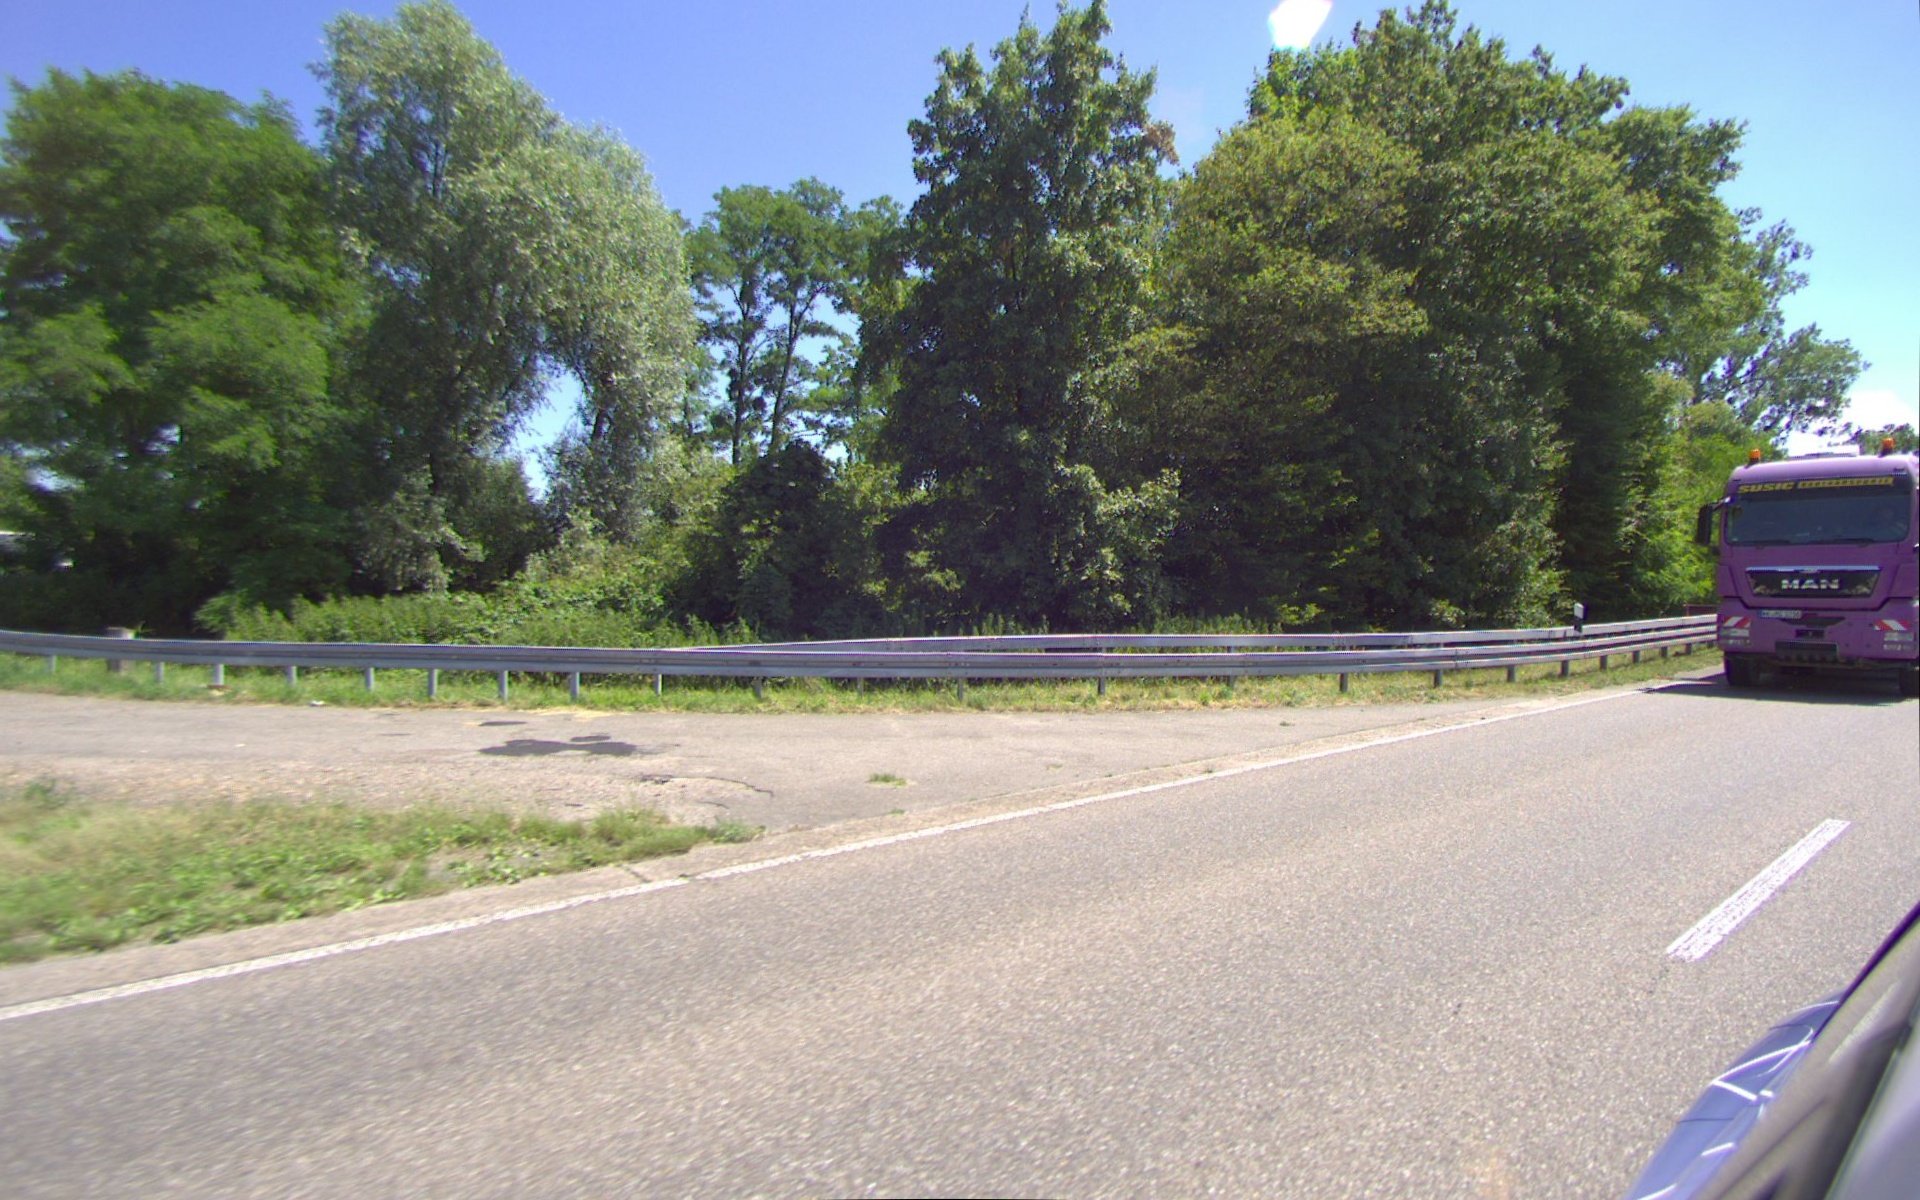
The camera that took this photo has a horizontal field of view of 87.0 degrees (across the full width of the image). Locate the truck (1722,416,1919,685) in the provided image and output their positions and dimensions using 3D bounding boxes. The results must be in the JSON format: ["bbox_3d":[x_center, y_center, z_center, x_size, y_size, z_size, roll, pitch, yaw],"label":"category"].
[{"bbox_3d":[14.926,-0.682,16.746,5.836,3.738,2.602,1,0,-42],"label":"truck"}]

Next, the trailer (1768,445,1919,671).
[{"bbox_3d":[18.329,-0.660,19.755,8.464,3.675,2.602,1,0,-42],"label":"trailer"}]
